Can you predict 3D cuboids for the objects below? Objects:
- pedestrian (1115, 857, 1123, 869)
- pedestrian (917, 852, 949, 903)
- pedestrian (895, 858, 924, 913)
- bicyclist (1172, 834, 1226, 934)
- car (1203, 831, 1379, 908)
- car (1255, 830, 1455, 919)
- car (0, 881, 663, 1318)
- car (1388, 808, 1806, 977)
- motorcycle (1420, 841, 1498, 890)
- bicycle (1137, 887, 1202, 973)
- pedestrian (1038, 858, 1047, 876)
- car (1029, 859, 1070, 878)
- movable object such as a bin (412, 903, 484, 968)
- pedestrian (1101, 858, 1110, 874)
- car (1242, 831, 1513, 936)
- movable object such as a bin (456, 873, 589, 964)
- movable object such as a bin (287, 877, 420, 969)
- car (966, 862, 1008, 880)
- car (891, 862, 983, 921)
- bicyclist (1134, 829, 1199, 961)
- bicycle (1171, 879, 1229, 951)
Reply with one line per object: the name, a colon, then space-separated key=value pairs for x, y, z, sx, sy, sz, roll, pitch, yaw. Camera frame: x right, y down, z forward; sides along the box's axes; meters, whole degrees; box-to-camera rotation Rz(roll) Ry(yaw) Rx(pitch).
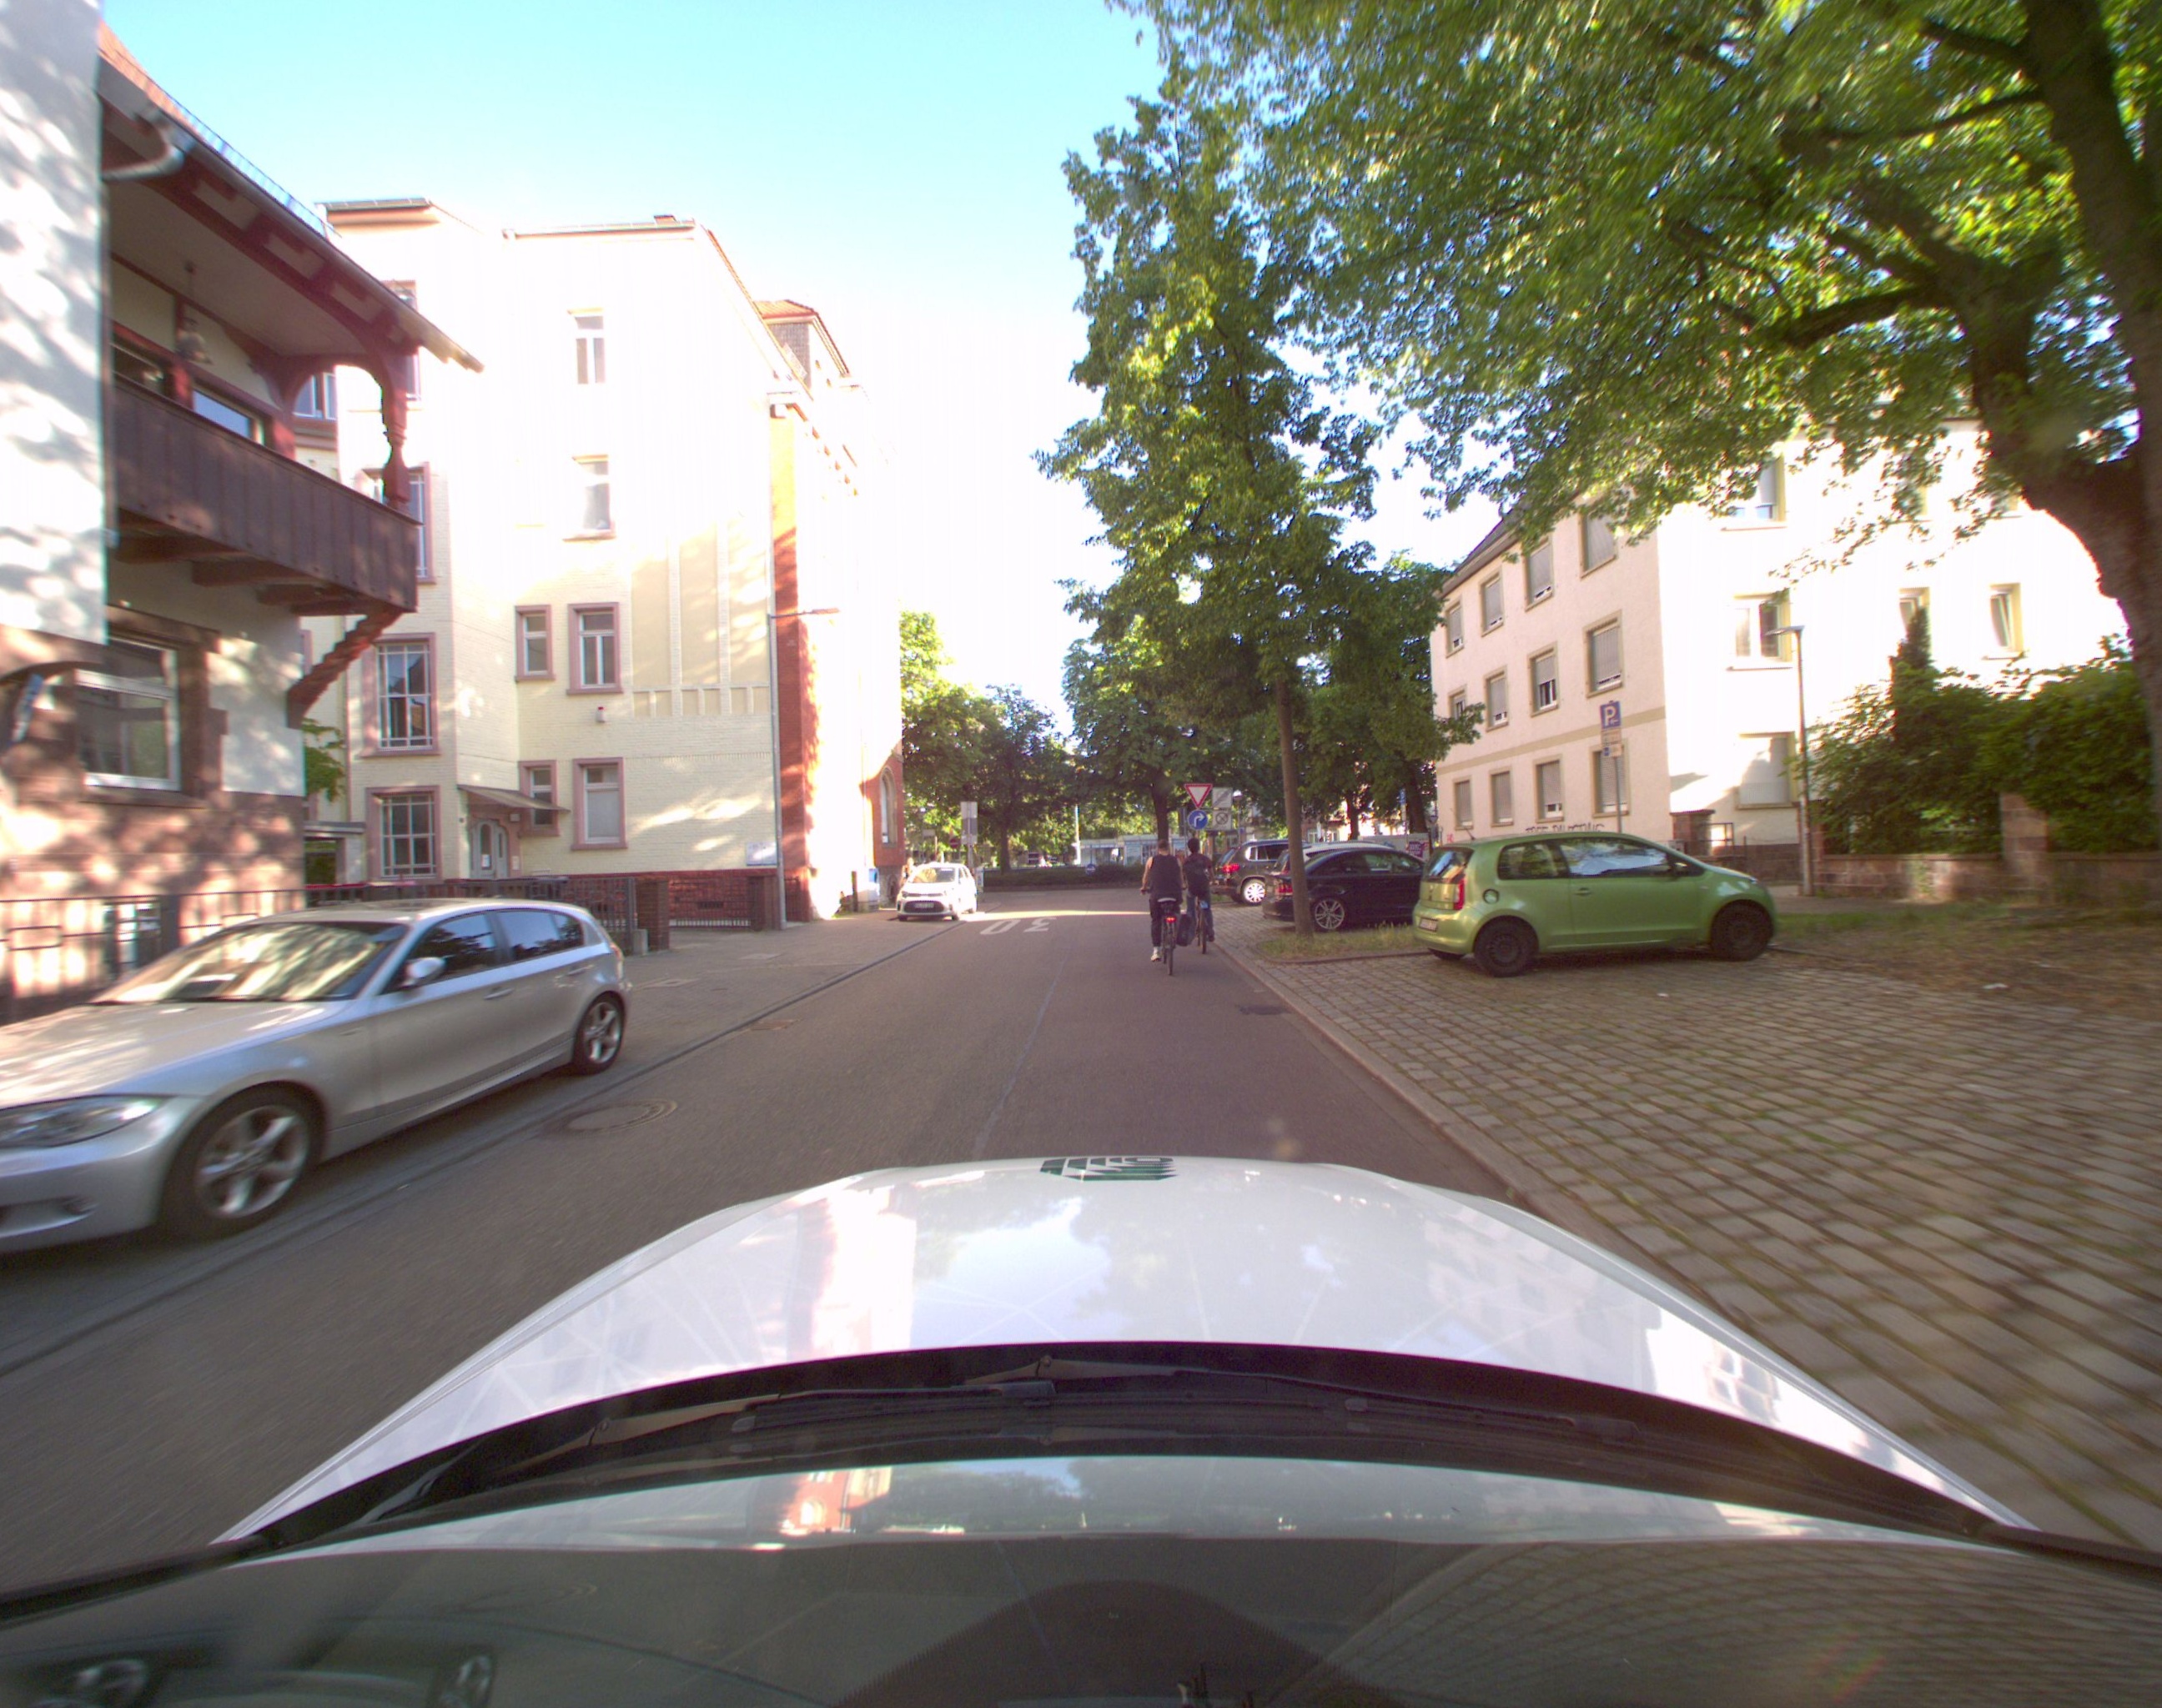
pedestrian: x=5.105 y=1.179 z=108.615 sx=0.997 sy=1.630 sz=1.064 roll=-2 pitch=-1 yaw=0
pedestrian: x=-4.969 y=0.775 z=27.392 sx=0.864 sy=1.643 sz=0.861 roll=-2 pitch=-1 yaw=2
pedestrian: x=-5.091 y=0.921 z=24.272 sx=0.597 sy=1.605 sz=0.855 roll=-2 pitch=-1 yaw=2
bicyclist: x=1.883 y=0.472 z=13.101 sx=0.669 sy=1.514 sz=1.069 roll=-2 pitch=-2 yaw=0
car: x=5.527 y=0.385 z=21.814 sx=4.096 sy=1.712 sz=2.022 roll=-3 pitch=0 yaw=-3
car: x=5.668 y=0.430 z=17.203 sx=3.675 sy=1.651 sz=1.706 roll=-2 pitch=-1 yaw=5
car: x=-4.513 y=0.977 z=4.999 sx=1.738 sy=1.466 sz=4.102 roll=-1 pitch=0 yaw=0
car: x=5.589 y=0.390 z=9.180 sx=3.575 sy=1.505 sz=1.679 roll=-4 pitch=0 yaw=2
motorcycle: x=10.617 y=0.322 z=22.981 sx=0.974 sy=1.280 sz=2.177 roll=-3 pitch=0 yaw=-6
bicycle: x=1.156 y=0.975 z=11.040 sx=0.735 sy=1.012 sz=2.062 roll=0 pitch=-1 yaw=2
pedestrian: x=-3.622 y=1.189 z=76.394 sx=0.704 sy=1.695 sz=0.666 roll=0 pitch=-1 yaw=-20
car: x=-3.391 y=1.587 z=88.119 sx=4.005 sy=1.871 sz=1.984 roll=-2 pitch=0 yaw=-24
movable object such as a bin: x=-9.361 y=1.195 z=12.055 sx=0.477 sy=0.879 sz=0.675 roll=-2 pitch=-1 yaw=11
pedestrian: x=2.367 y=1.120 z=78.809 sx=0.809 sy=1.543 sz=0.818 roll=0 pitch=-1 yaw=-10
car: x=5.108 y=0.495 z=14.458 sx=4.089 sy=1.412 sz=1.793 roll=-5 pitch=-1 yaw=1
movable object such as a bin: x=-8.514 y=0.960 z=12.449 sx=1.367 sy=1.299 sz=0.971 roll=-2 pitch=-1 yaw=11
movable object such as a bin: x=-11.238 y=1.047 z=12.618 sx=1.378 sy=1.317 sz=0.686 roll=-2 pitch=-1 yaw=-6
car: x=-9.695 y=1.782 z=84.119 sx=3.971 sy=1.679 sz=1.931 roll=-2 pitch=-1 yaw=-42
car: x=-3.870 y=0.972 z=22.484 sx=1.698 sy=1.485 sz=3.799 roll=0 pitch=0 yaw=2
bicyclist: x=1.138 y=0.539 z=11.010 sx=0.749 sy=1.682 sz=0.913 roll=-2 pitch=-1 yaw=2
bicycle: x=1.904 y=0.952 z=13.300 sx=0.671 sy=1.054 sz=2.061 roll=-2 pitch=-2 yaw=1
